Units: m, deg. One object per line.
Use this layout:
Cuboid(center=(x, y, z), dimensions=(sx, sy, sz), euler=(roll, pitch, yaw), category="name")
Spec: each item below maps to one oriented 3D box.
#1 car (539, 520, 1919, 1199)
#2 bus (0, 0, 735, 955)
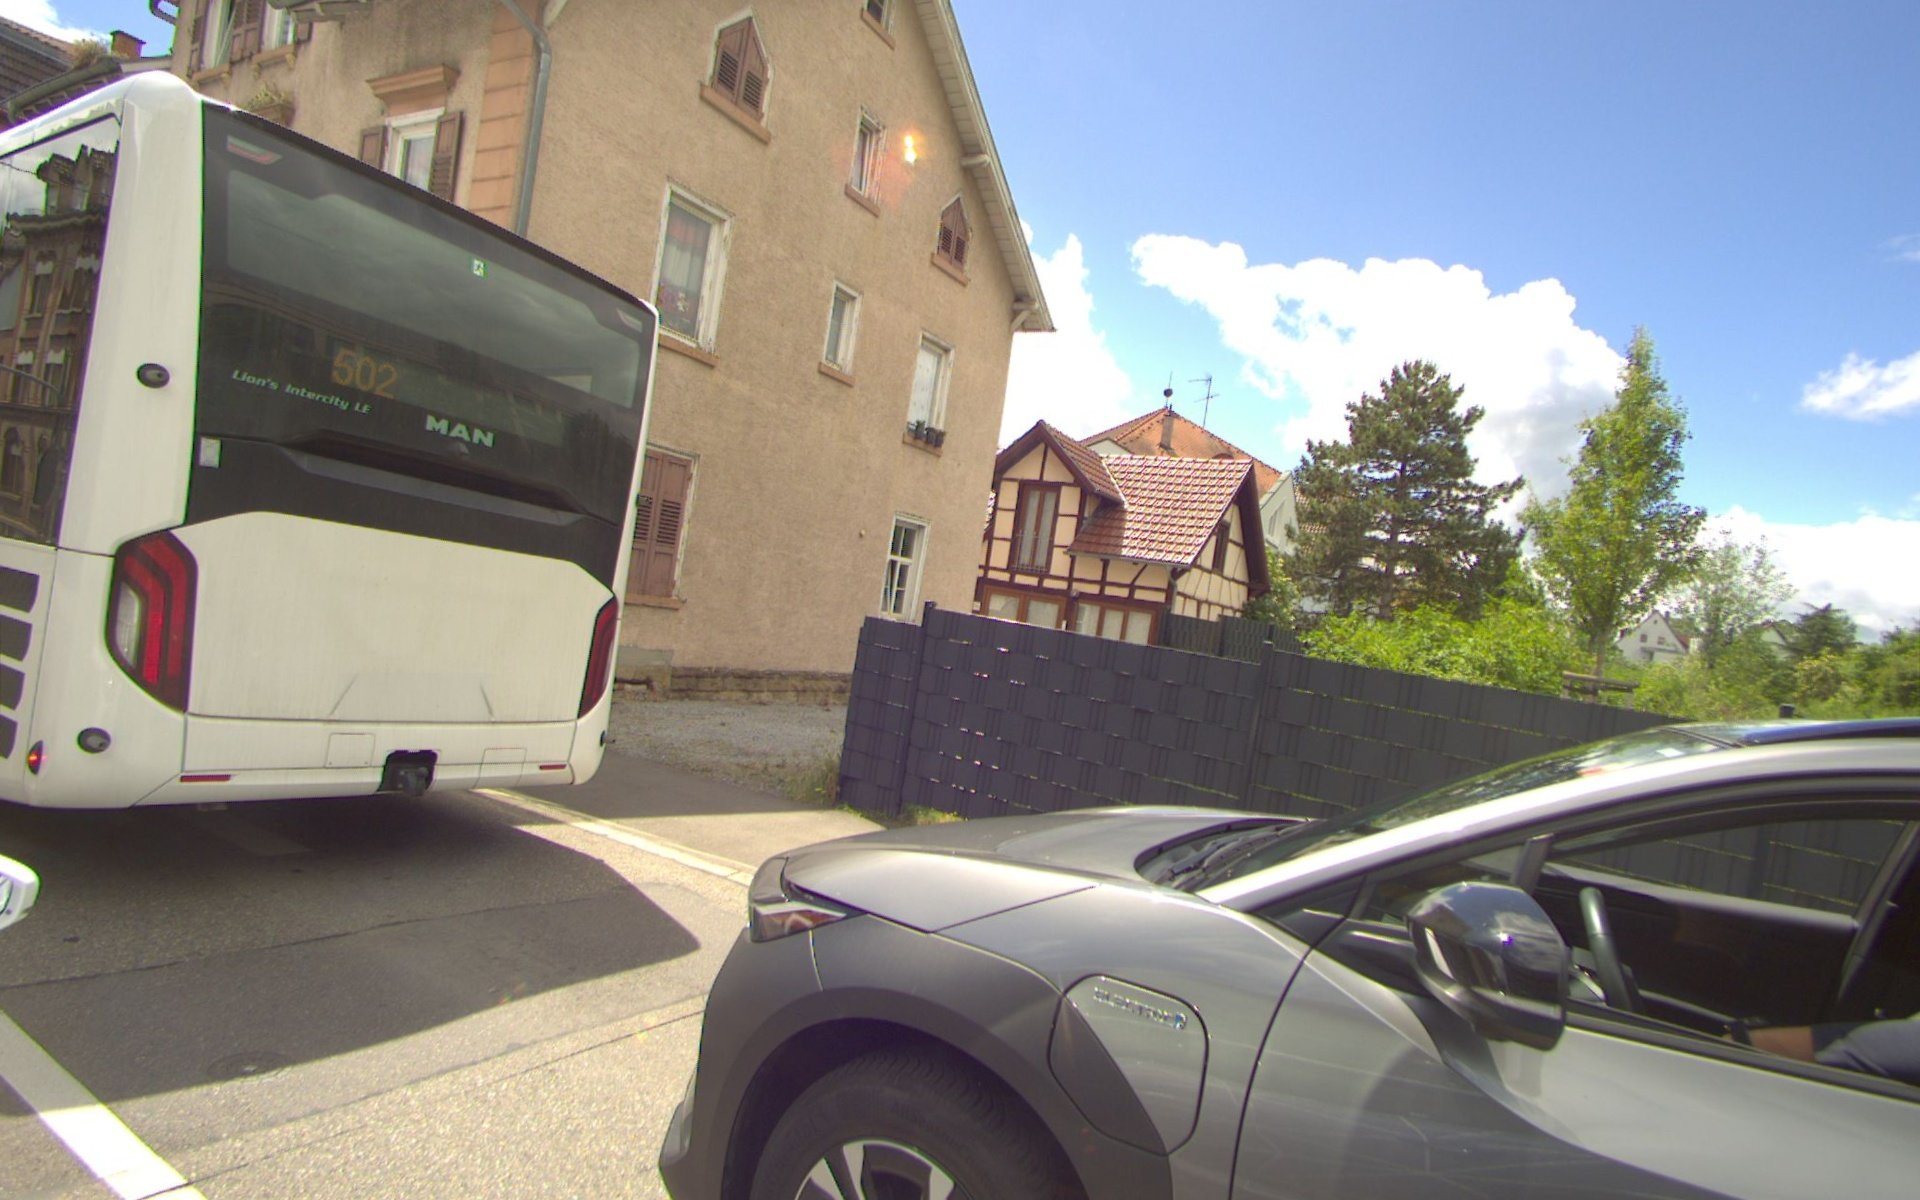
Cuboid(center=(1.581, 0.955, 1.871), dimensions=(4.504, 1.648, 1.997), euler=(7, -1, 31), category="car")
Cuboid(center=(-7.452, -0.998, 7.818), dimensions=(12.281, 3.551, 2.910), euler=(6, -2, 32), category="bus")
